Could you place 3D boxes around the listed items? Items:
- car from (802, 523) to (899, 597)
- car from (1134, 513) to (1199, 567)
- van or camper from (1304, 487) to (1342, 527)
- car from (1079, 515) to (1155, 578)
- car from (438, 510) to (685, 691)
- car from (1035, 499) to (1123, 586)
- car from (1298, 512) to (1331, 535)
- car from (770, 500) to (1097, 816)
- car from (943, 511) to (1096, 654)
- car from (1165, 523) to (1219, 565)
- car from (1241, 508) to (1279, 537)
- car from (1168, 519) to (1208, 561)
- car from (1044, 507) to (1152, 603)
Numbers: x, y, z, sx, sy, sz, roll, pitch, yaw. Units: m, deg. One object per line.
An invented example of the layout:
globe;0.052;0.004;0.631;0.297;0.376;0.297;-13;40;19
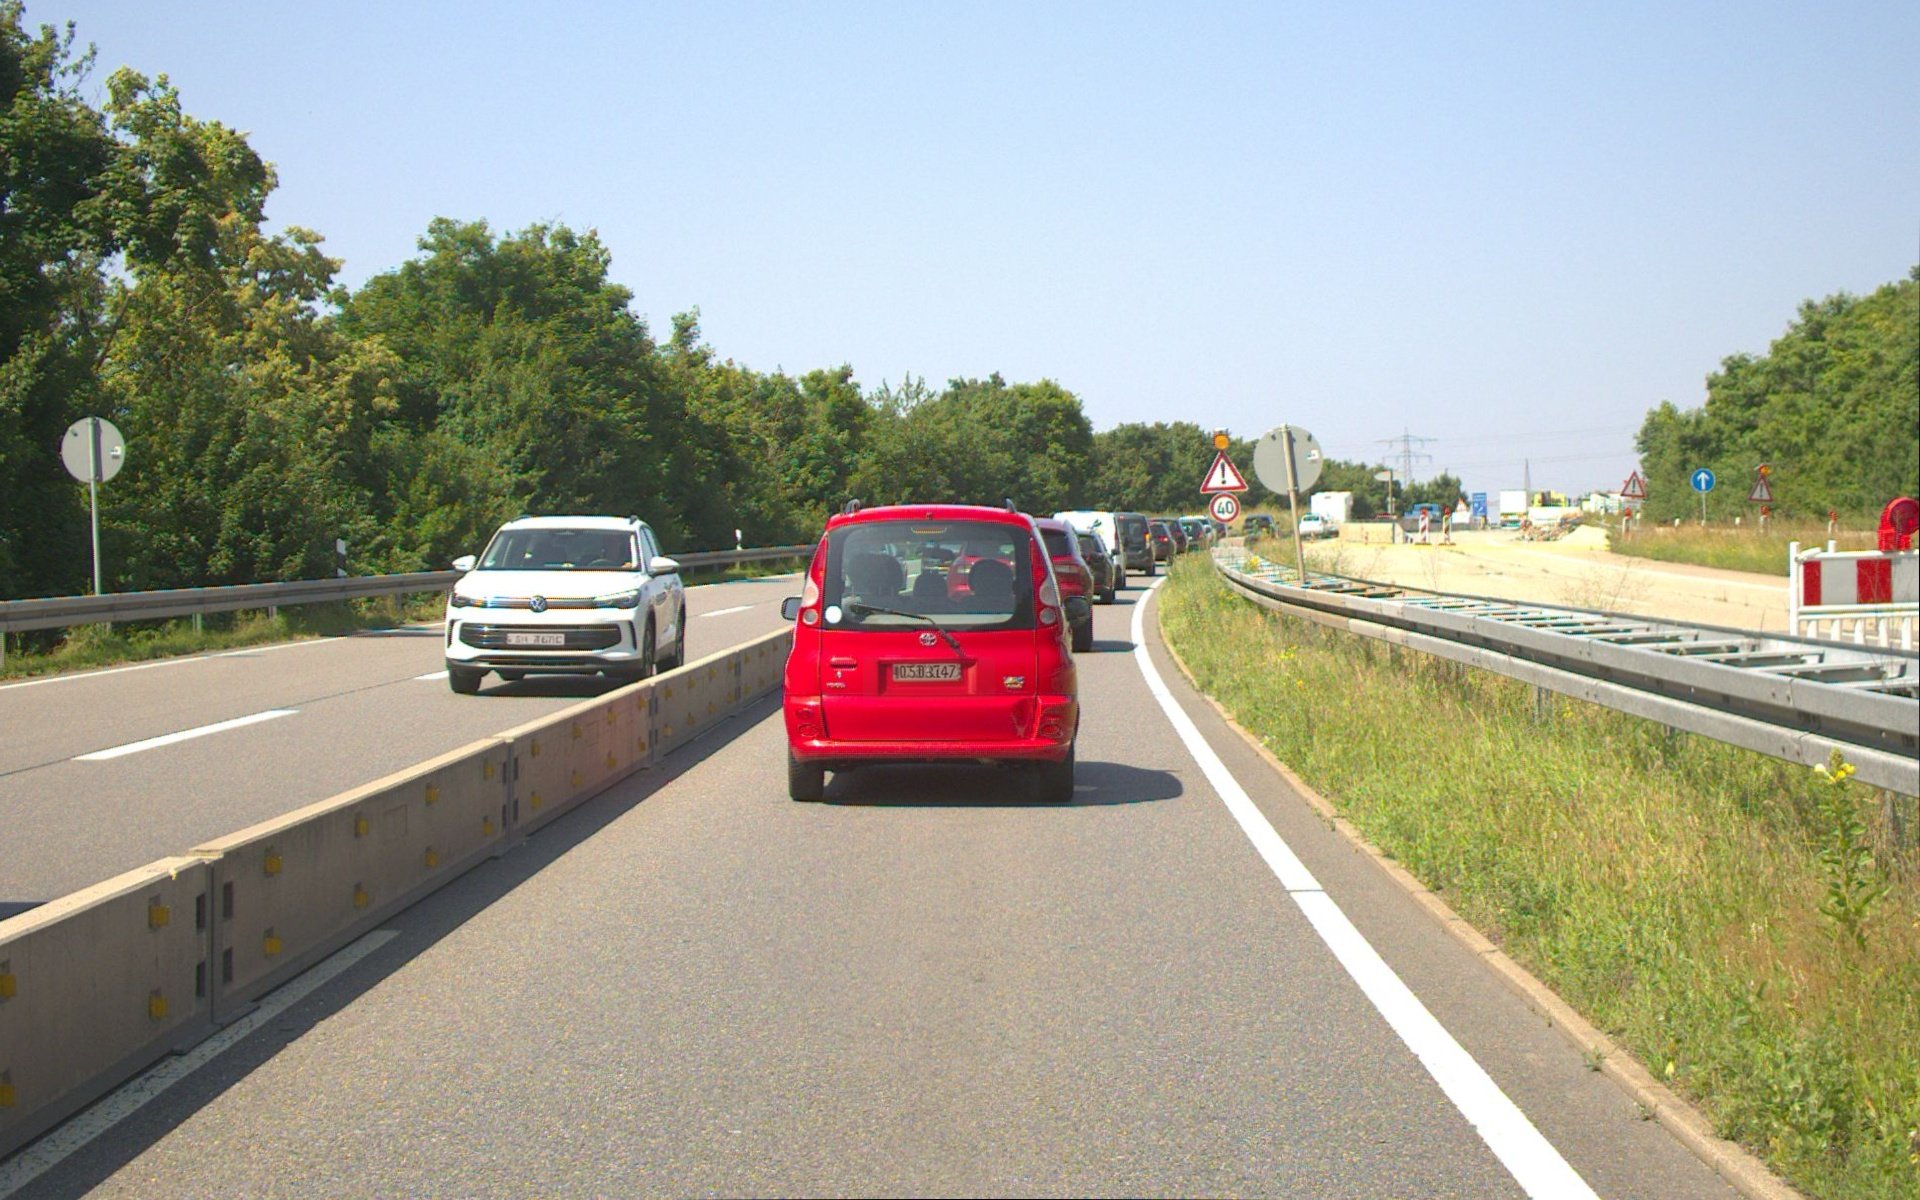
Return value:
car;-2.144;-0.798;68.332;1.815;1.419;4.109;0;1;0
car;6.943;-2.024;115.932;1.993;1.777;4.000;-1;1;1
van or camper;24.638;-6.315;233.463;2.328;2.697;4.593;-1;1;4
car;4.438;-1.532;97.742;1.993;1.744;4.000;-1;1;0
car;-3.715;-0.035;32.739;1.848;1.595;4.322;0;1;0
car;2.833;-1.362;81.329;1.994;1.997;4.000;0;1;3
car;22.795;-4.907;221.193;1.994;1.481;4.000;-1;1;5
car;-0.108;0.254;20.619;1.752;1.667;4.000;1;2;1
car;0.758;-0.253;43.870;1.830;1.716;4.000;1;1;1
car;8.784;-2.143;130.290;1.994;1.579;4.000;0;1;3
car;16.431;-4.227;188.238;1.994;1.546;3.999;-1;1;6
car;9.403;-2.476;141.689;1.502;1.730;3.169;1;1;6
car;2.704;-0.894;68.087;1.993;1.831;4.000;-1;1;1
